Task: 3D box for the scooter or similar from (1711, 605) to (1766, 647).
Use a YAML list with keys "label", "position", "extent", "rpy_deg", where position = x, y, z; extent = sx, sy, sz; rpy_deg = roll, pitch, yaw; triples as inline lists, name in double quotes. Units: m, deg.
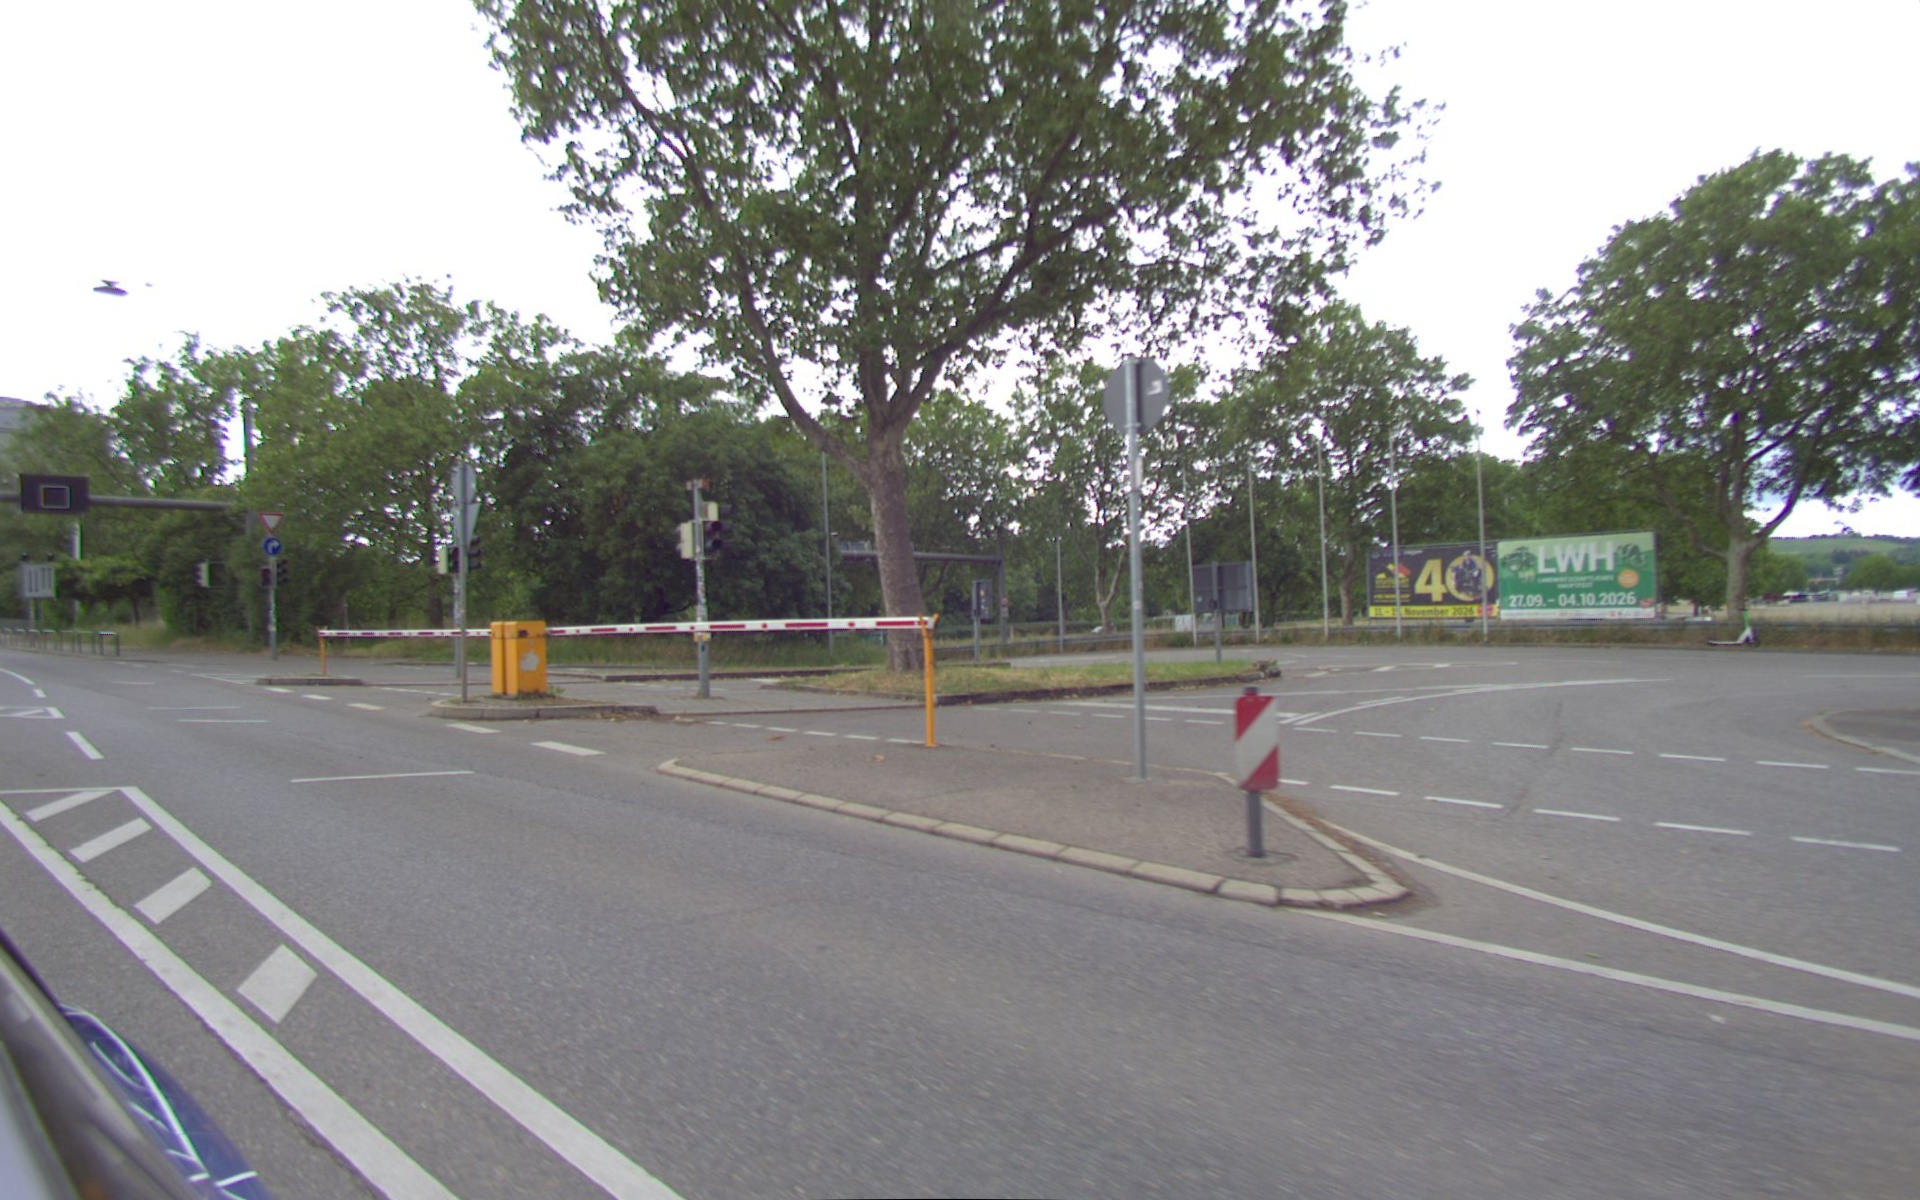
- label: "scooter or similar"
  position: [23.163, 0.773, 30.126]
  extent: [0.409, 1.230, 1.222]
  rpy_deg: [-1, 0, -38]
